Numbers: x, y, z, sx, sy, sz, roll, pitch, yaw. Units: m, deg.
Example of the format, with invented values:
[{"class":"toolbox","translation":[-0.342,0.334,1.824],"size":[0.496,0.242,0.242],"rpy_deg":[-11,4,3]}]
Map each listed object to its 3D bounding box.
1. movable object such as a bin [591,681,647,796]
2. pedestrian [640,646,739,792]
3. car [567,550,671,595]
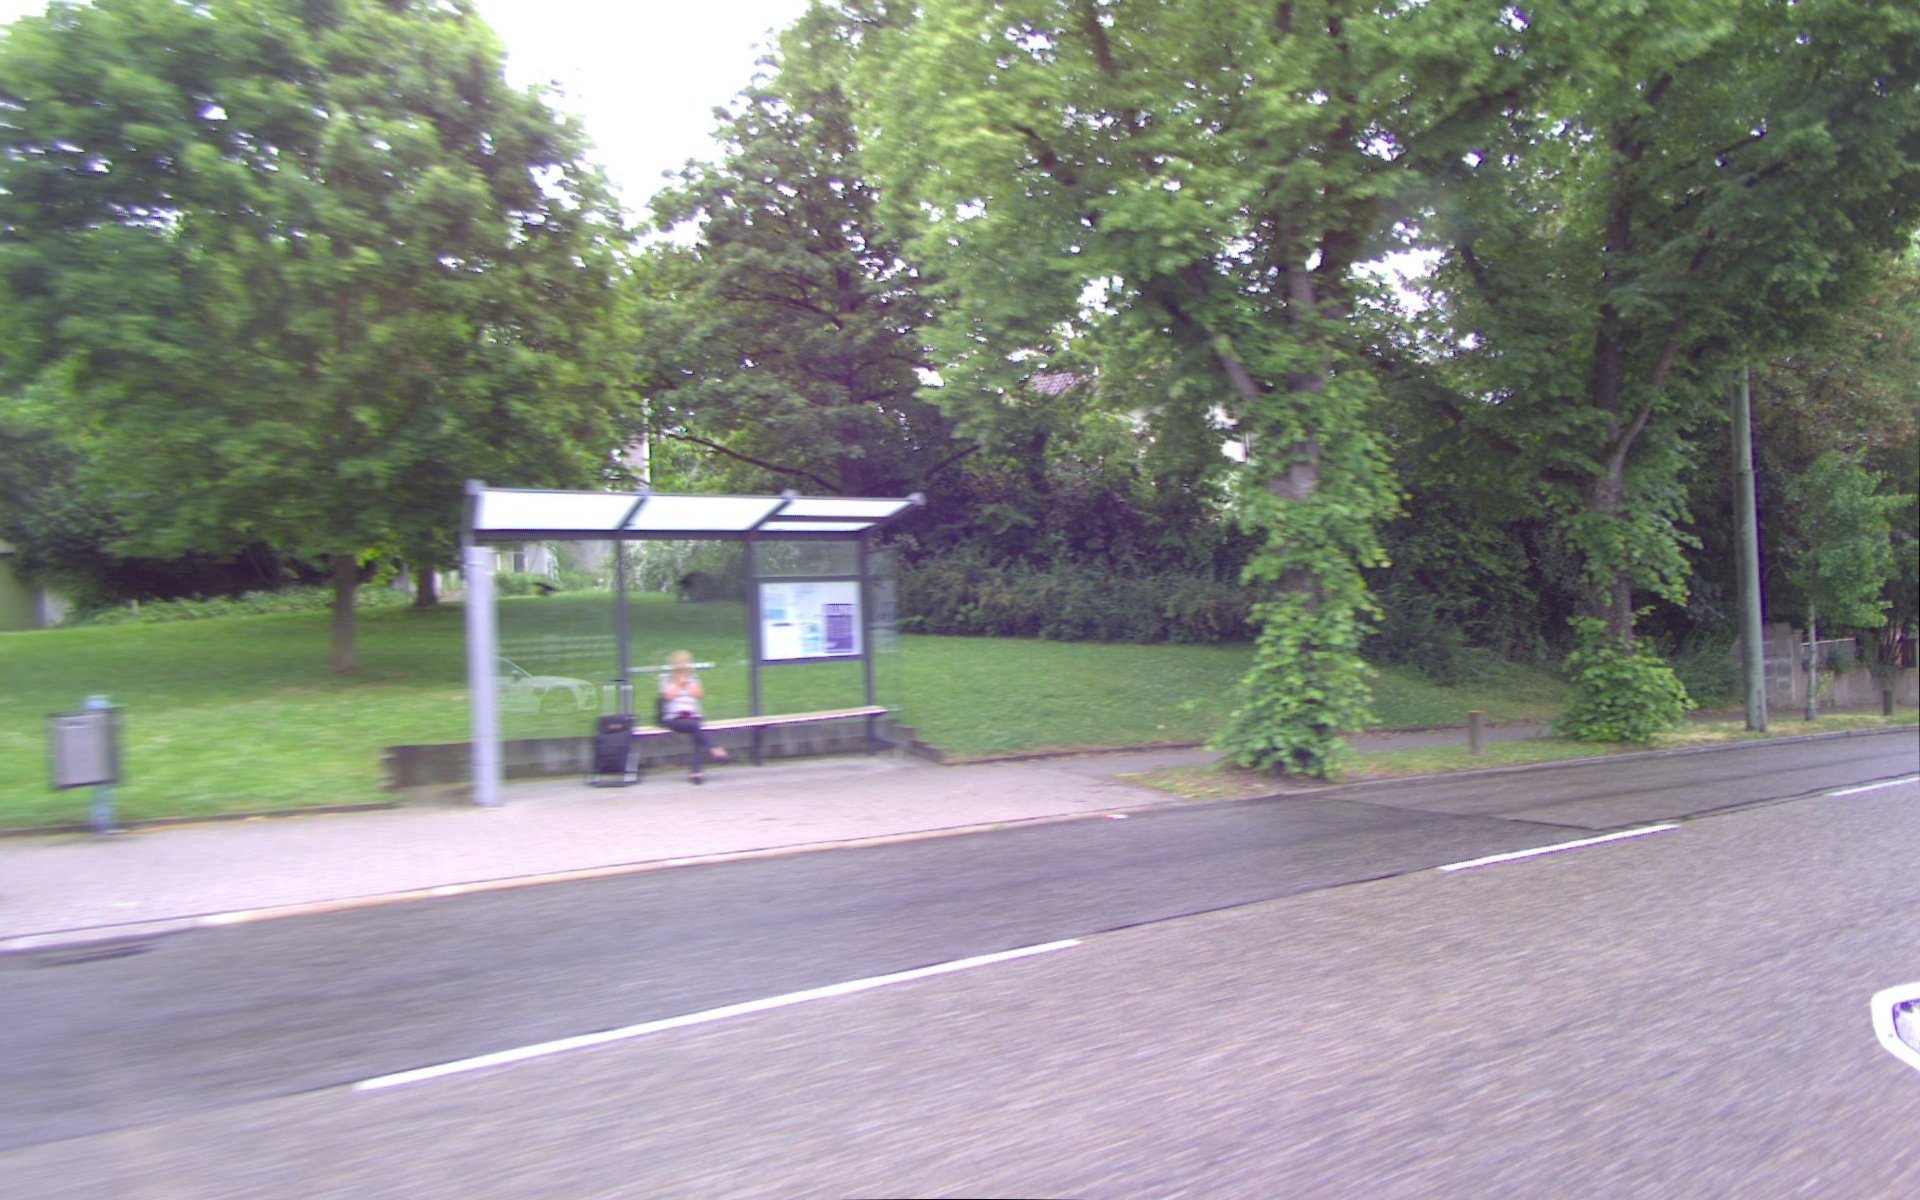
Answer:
[{"class":"movable object such as a bin","translation":[-3.555,1.415,10.444],"size":[0.492,1.057,0.760],"rpy_deg":[0,1,-23]},{"class":"pedestrian","translation":[-2.929,1.237,10.831],"size":[0.905,1.422,0.935],"rpy_deg":[0,1,-23]},{"class":"car","translation":[-12.916,-1.003,38.000],"size":[3.848,1.505,1.928],"rpy_deg":[-1,-2,38]}]
